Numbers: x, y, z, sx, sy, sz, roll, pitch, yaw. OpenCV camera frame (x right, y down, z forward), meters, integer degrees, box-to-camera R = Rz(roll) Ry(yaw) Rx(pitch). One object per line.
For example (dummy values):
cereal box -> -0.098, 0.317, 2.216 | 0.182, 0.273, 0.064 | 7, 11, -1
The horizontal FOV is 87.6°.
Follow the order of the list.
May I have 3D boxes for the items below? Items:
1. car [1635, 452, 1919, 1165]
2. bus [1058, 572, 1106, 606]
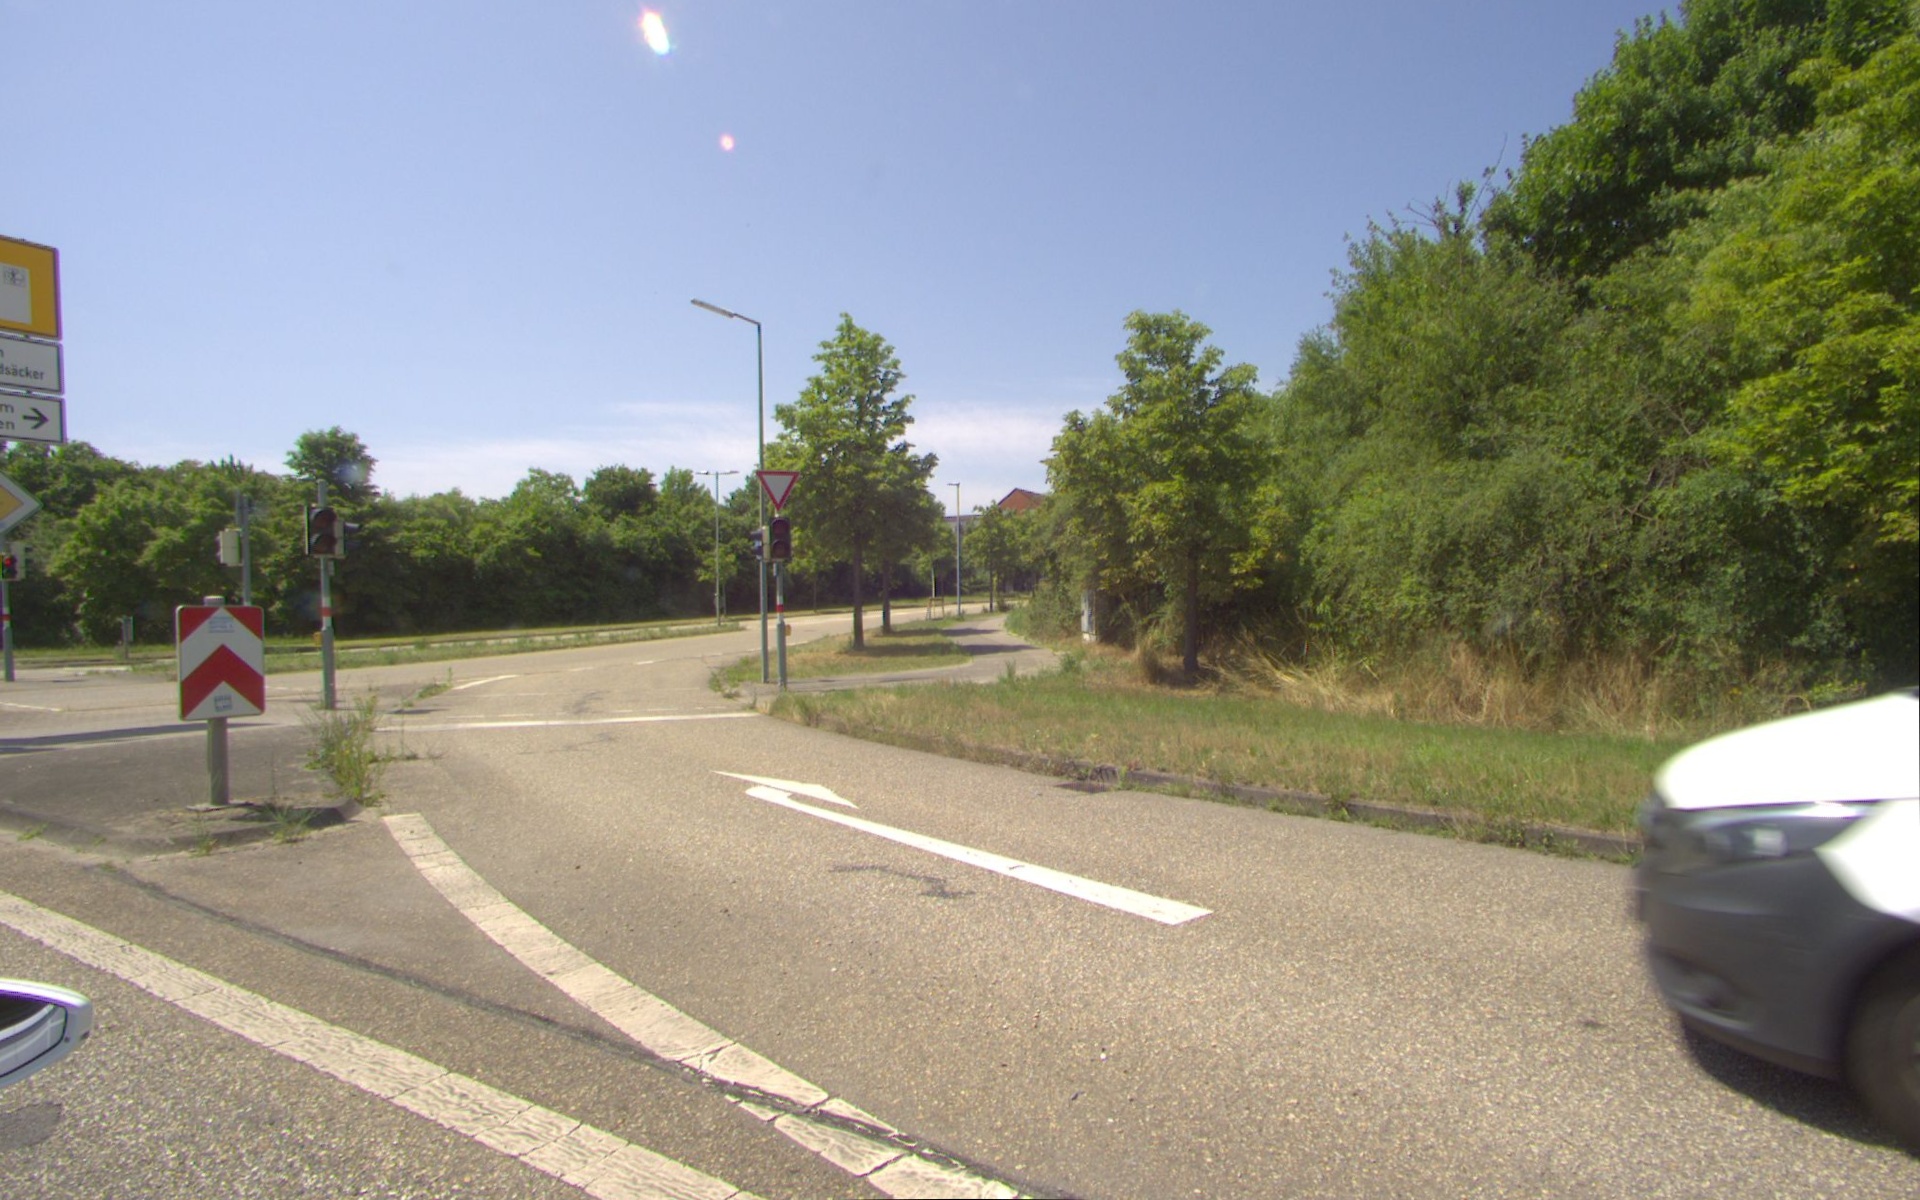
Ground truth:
car -> 4.464, 0.530, 2.222 | 4.846, 1.842, 1.853 | -1, 0, 37
bus -> 12.211, -1.024, 99.272 | 2.584, 3.127, 12.060 | 0, 0, 18
